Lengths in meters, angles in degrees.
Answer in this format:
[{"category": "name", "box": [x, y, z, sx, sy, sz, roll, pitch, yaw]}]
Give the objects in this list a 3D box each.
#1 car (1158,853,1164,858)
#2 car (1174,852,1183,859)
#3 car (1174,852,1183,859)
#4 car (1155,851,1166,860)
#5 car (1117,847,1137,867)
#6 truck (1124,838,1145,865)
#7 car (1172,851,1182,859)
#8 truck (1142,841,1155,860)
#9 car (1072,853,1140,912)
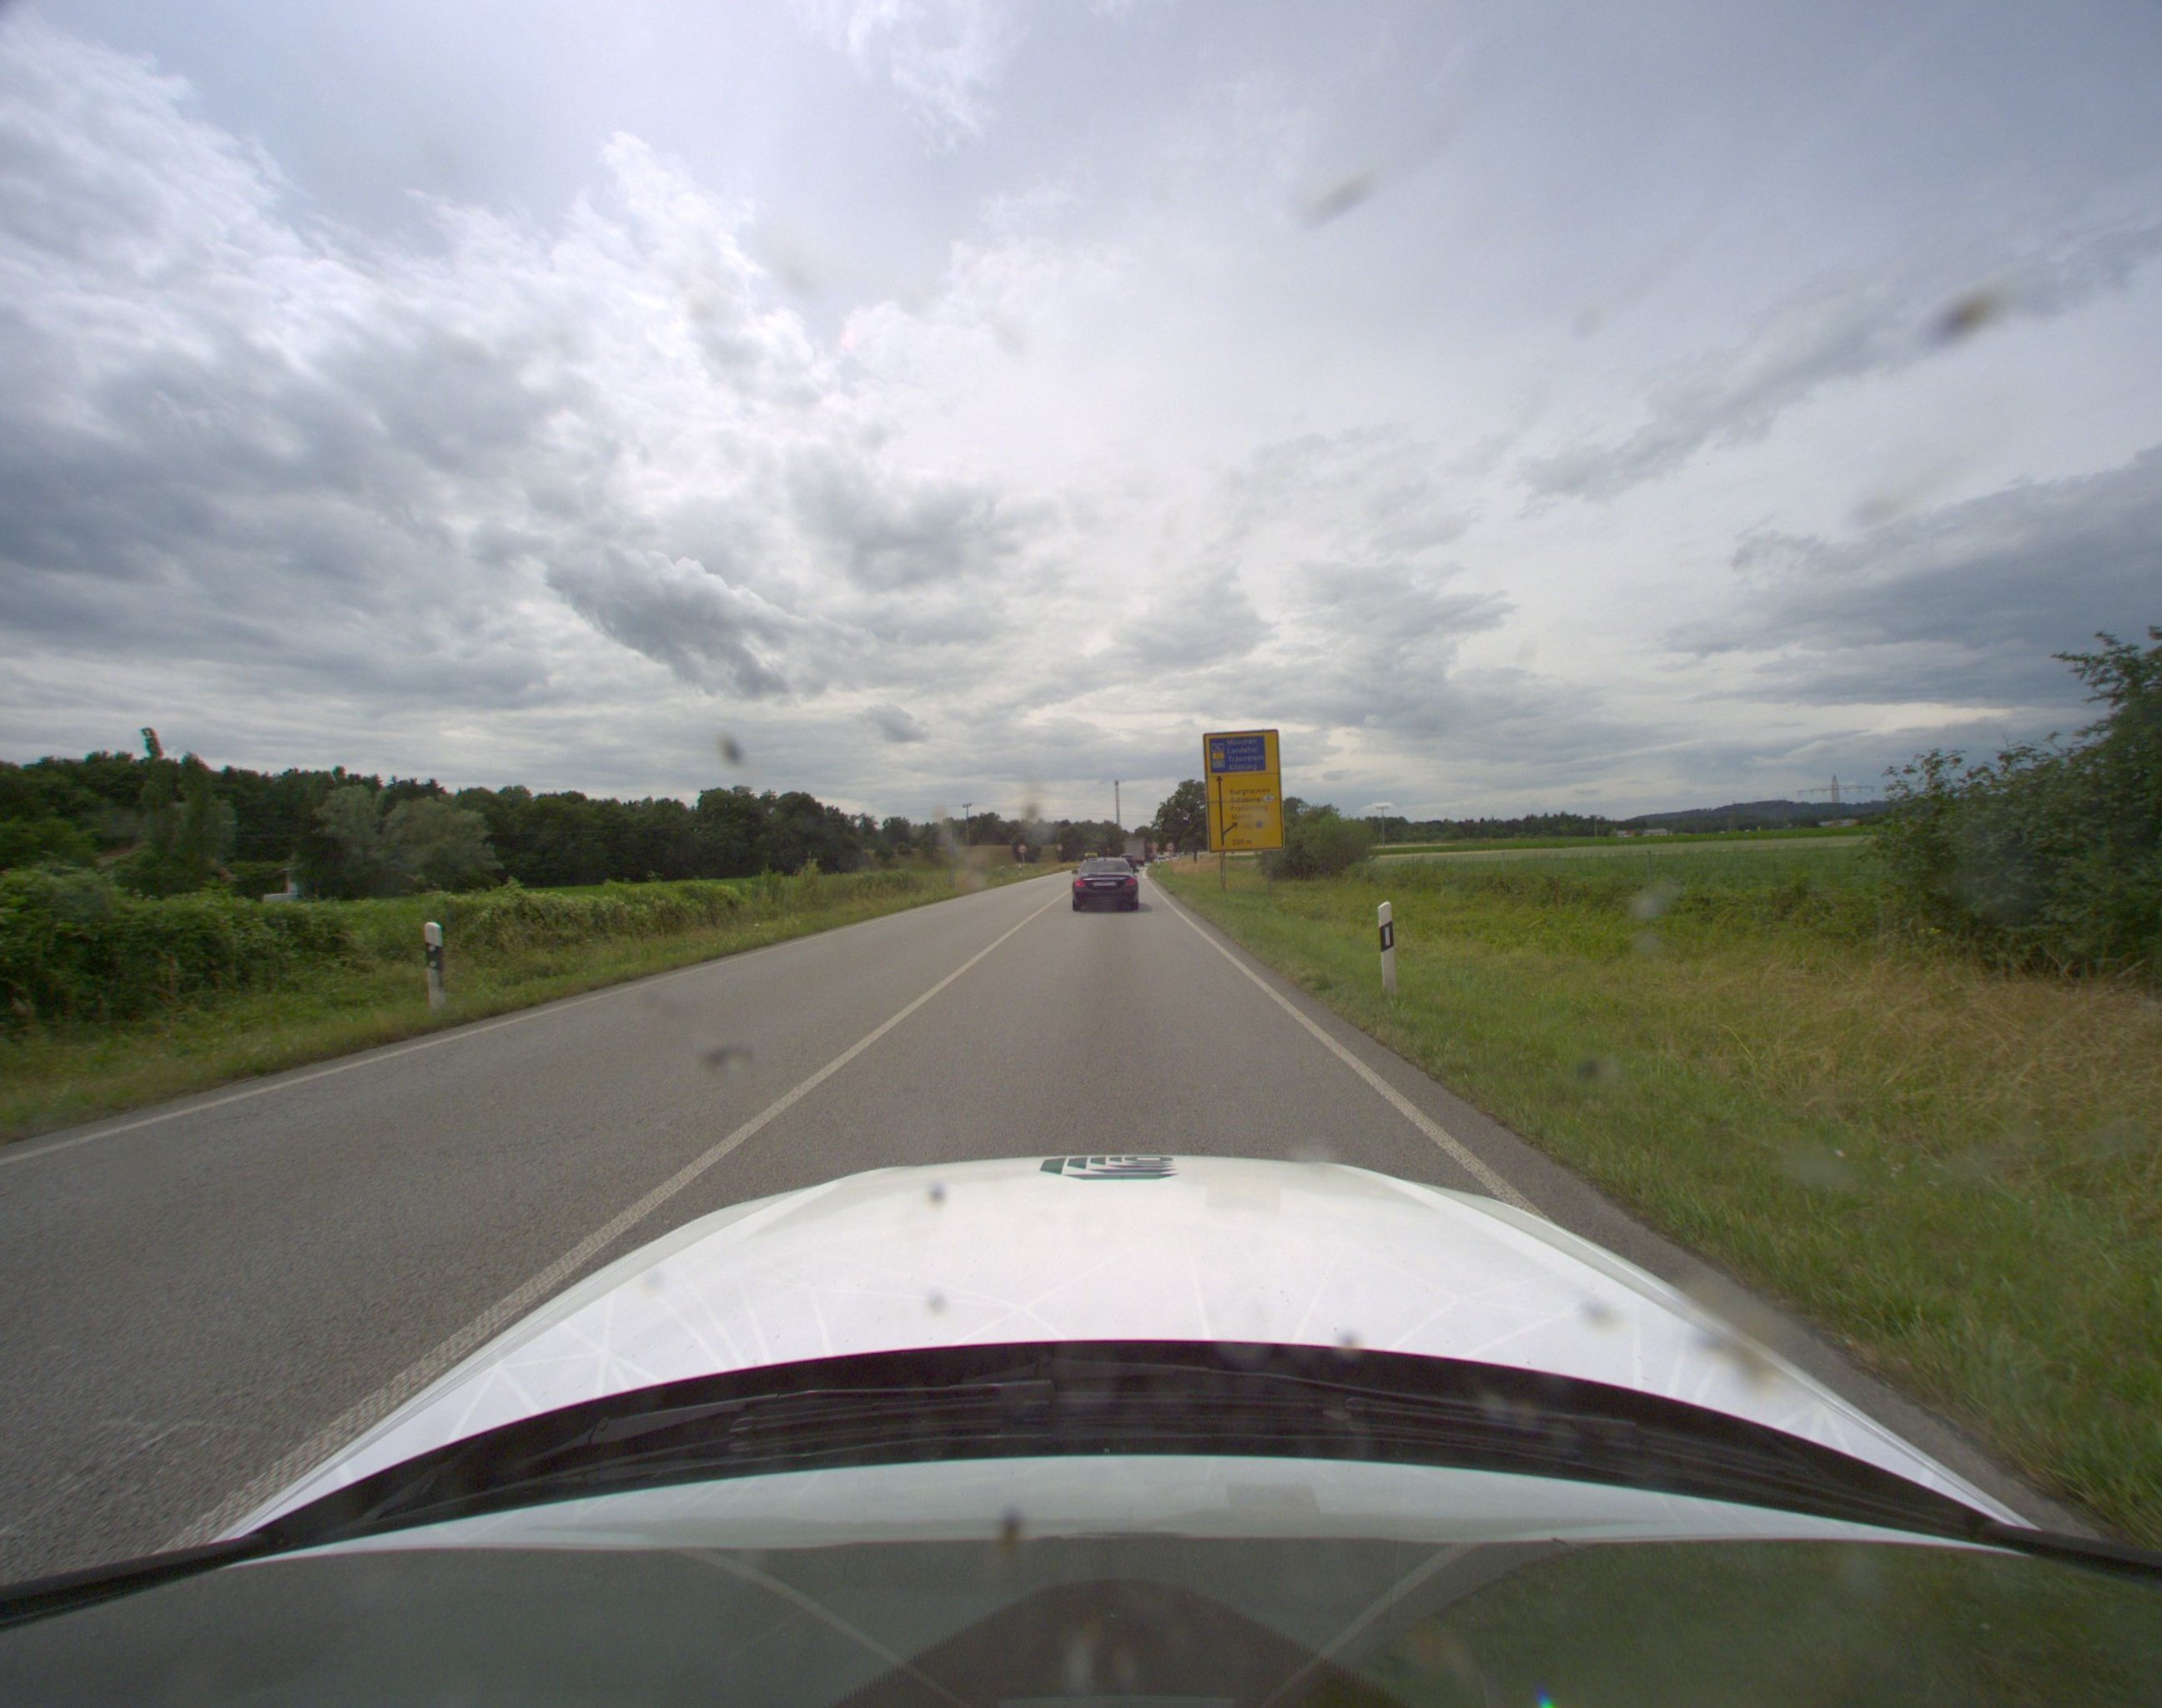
[{"category": "car", "box": [21.219, 0.364, 215.513, 1.640, 1.395, 3.712, 0, -1, 6]}, {"category": "car", "box": [22.596, 0.342, 189.021, 1.789, 1.662, 4.001, 0, -1, 2]}, {"category": "car", "box": [24.248, 0.427, 203.088, 1.789, 1.662, 4.001, 0, -1, 2]}, {"category": "car", "box": [15.089, 0.247, 155.195, 1.789, 1.662, 4.001, 0, -1, 2]}, {"category": "car", "box": [4.669, 0.314, 83.519, 1.986, 2.014, 4.001, 0, -1, 2]}, {"category": "truck", "box": [7.079, -0.286, 108.134, 2.577, 3.524, 4.814, 0, -1, 1]}, {"category": "car", "box": [20.581, 0.261, 174.268, 1.789, 1.662, 4.001, 0, -1, 2]}, {"category": "truck", "box": [12.240, -0.595, 147.744, 1.986, 3.526, 4.594, 0, -1, 2]}, {"category": "car", "box": [0.715, 0.767, 23.482, 1.789, 1.560, 4.001, 0, -1, 2]}]
